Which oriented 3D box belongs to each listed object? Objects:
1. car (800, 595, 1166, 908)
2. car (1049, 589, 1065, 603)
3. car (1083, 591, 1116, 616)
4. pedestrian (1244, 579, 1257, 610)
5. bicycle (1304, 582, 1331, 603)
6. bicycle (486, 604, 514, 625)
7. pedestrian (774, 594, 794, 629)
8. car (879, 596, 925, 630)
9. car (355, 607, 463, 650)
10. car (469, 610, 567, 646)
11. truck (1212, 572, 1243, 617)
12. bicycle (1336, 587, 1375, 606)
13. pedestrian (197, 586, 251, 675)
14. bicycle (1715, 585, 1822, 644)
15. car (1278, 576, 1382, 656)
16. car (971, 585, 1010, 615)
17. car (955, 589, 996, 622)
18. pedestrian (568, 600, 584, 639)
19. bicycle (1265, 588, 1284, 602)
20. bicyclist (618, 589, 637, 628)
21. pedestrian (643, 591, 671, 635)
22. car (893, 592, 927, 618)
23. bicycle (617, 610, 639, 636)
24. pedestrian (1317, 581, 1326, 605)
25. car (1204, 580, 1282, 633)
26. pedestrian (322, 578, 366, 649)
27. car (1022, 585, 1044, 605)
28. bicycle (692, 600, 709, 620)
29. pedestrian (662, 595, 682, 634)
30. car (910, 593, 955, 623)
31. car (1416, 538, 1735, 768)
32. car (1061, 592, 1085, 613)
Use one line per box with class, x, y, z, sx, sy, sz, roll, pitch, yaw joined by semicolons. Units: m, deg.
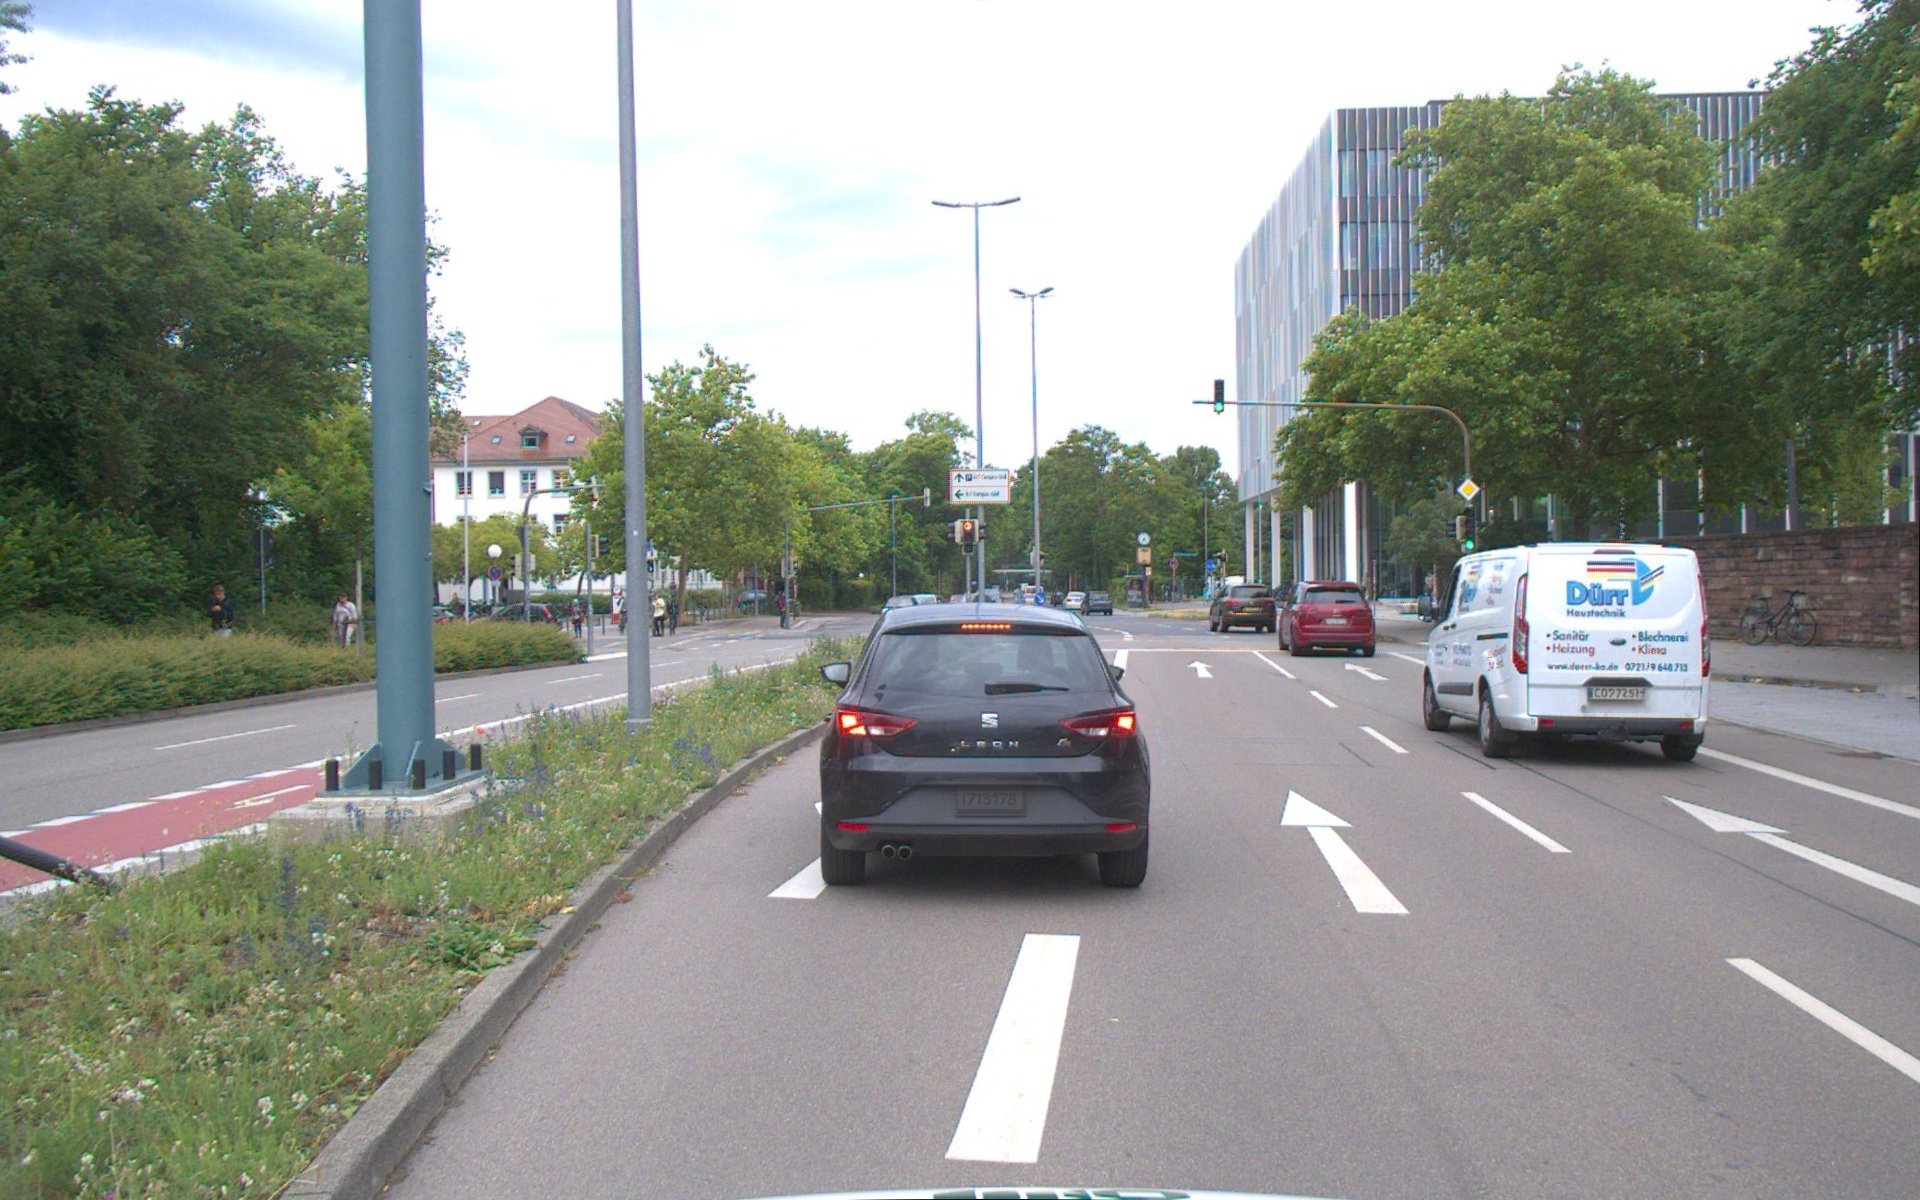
car;0.202;0.705;9.660;1.716;1.457;3.770;0;0;3
car;9.006;-0.401;153.762;1.474;1.214;3.164;-3;1;3
car;8.588;0.181;101.942;1.859;1.377;3.884;-3;1;3
pedestrian;16.747;-0.318;95.360;0.672;1.812;0.678;-1;1;6
bicycle;23.142;-0.494;107.077;1.752;1.232;0.564;-3;1;-28
bicycle;-24.737;0.781;88.942;1.377;1.070;0.586;-3;0;-14
pedestrian;-8.335;0.541;78.287;0.856;1.614;0.543;-3;0;-1
car;-2.664;0.573;77.031;1.574;1.405;3.811;-3;1;6
car;-22.728;1.154;68.343;3.978;1.477;1.619;-2;6;-12
car;-18.432;1.148;69.062;3.580;1.244;1.565;-1;7;0
truck;14.029;-0.323;86.859;1.290;2.282;3.404;-2;1;6
bicycle;20.517;-0.169;85.816;1.855;0.914;0.694;-3;1;-15
pedestrian;-14.984;0.601;33.667;0.607;1.759;0.819;-2;0;6
bicycle;16.104;0.285;33.004;0.922;1.092;1.966;-3;0;-9
car;8.165;0.310;36.757;1.907;1.652;3.752;0;1;7
car;1.829;0.003;98.329;1.880;1.693;4.402;-3;0;6
car;0.802;0.284;80.707;1.727;1.486;4.793;-3;-1;3
pedestrian;-16.015;0.813;68.911;0.561;1.553;0.844;-1;-4;-18
bicycle;23.079;-0.340;121.285;1.357;0.958;0.488;-2;1;13
bicyclist;-14.166;0.353;70.539;0.652;1.664;0.961;0;-1;-2
pedestrian;-12.628;0.556;68.937;0.832;1.770;0.821;0;-5;-33
car;-3.550;0.353;119.097;1.866;1.746;4.003;-3;1;6
bicycle;-14.167;0.964;70.513;0.652;1.081;1.618;0;-1;-2
pedestrian;21.446;-0.440;98.111;0.462;1.385;0.446;-2;0;16
car;9.835;0.195;57.761;1.875;1.693;4.114;-3;1;-1
pedestrian;-14.772;0.319;39.657;0.685;1.664;0.672;-2;0;6
car;6.204;-0.435;141.354;1.661;1.530;4.009;-3;1;0
bicycle;-14.546;0.553;92.806;0.595;1.079;2.044;-3;1;0
pedestrian;-12.186;0.613;69.936;0.776;1.585;0.696;-1;-3;-14
car;-1.455;0.430;88.831;1.668;1.456;4.231;-3;1;8
car;6.031;0.441;16.797;1.925;2.006;4.346;1;1;5
car;8.047;0.144;118.308;1.582;1.377;4.002;-3;1;3
